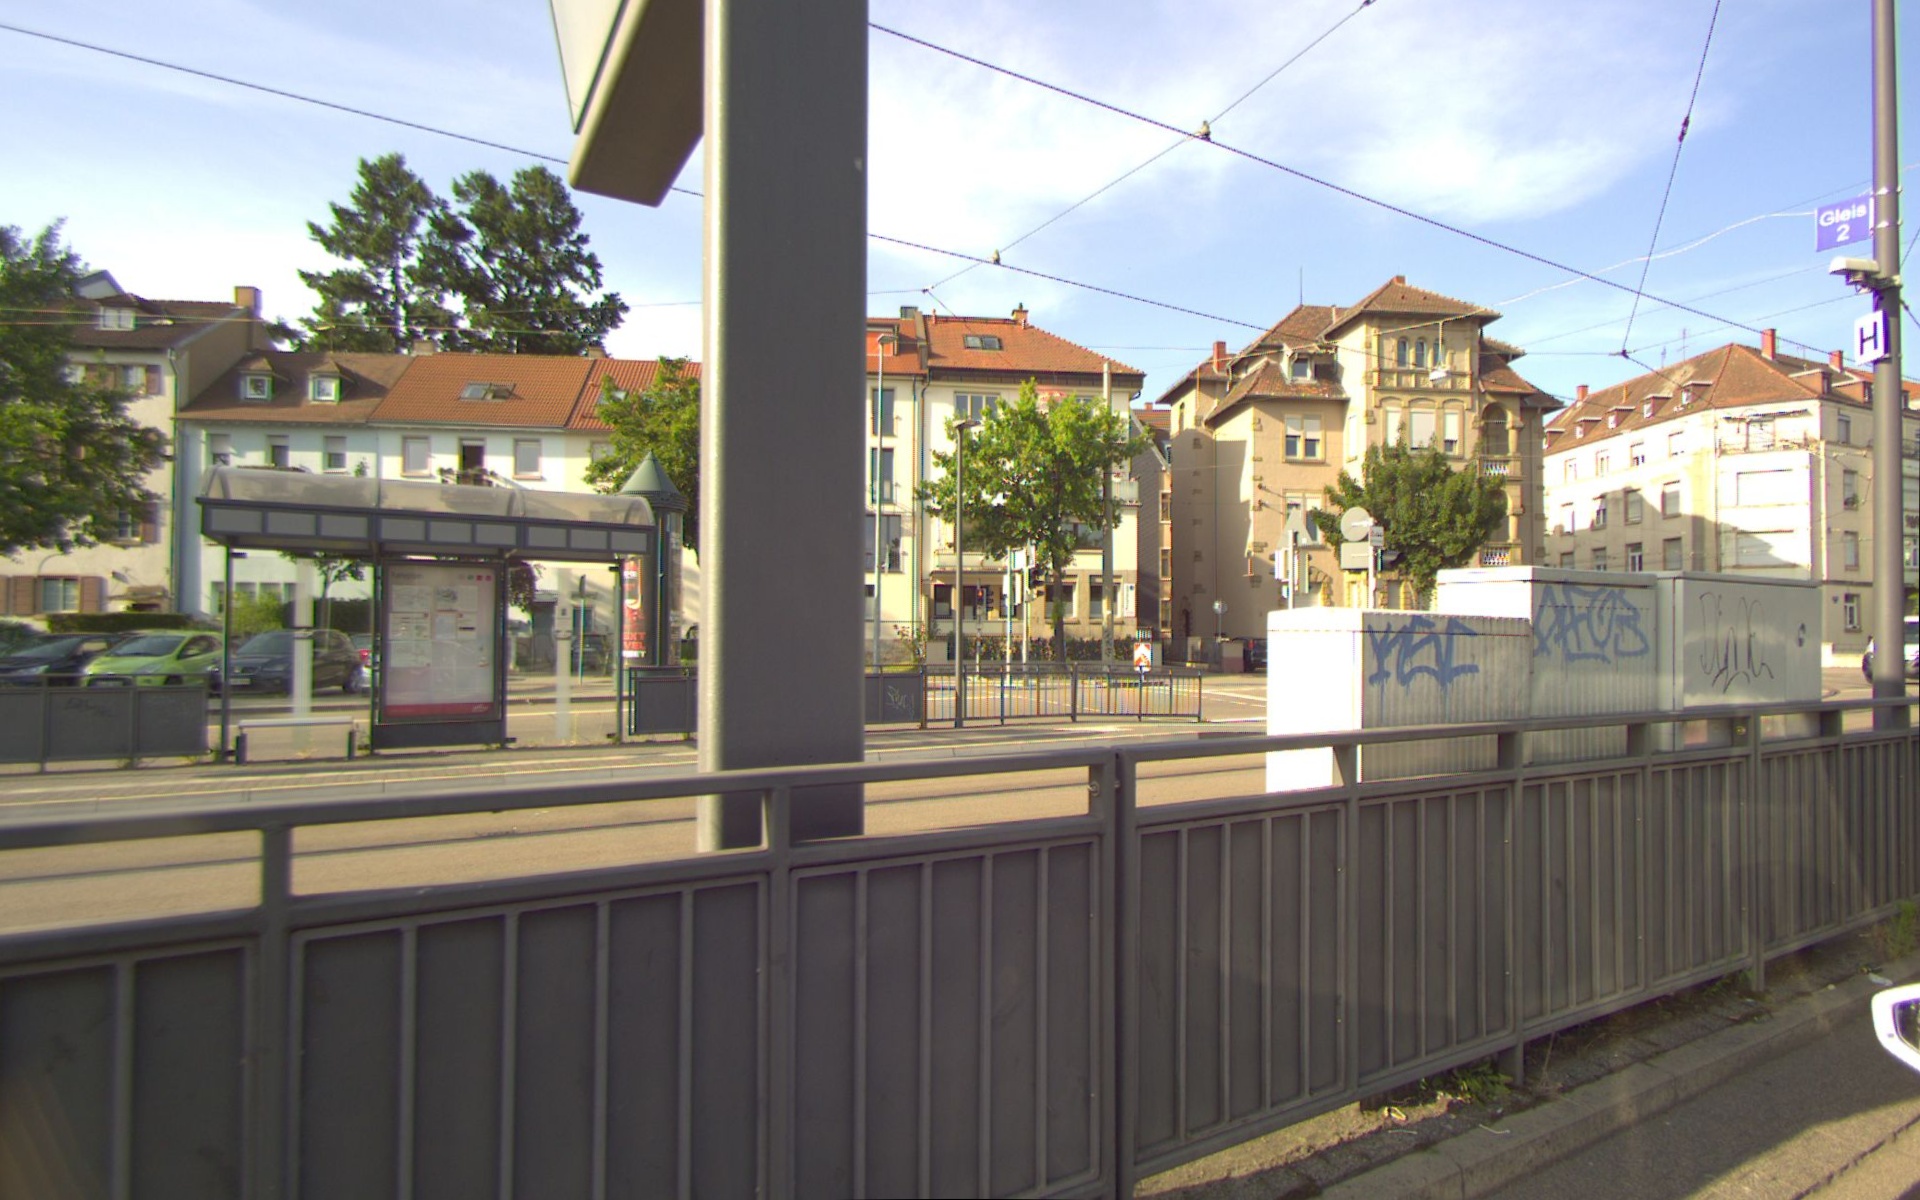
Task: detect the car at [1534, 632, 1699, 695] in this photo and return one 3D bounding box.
[{"bbox_3d":[17.531,1.648,26.810,4.064,1.546,1.673,0,-2,-22],"label":"car"}]

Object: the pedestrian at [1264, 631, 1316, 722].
[{"bbox_3d":[5.974,1.363,18.195,0.708,1.610,0.586,2,-2,-34],"label":"pedestrian"}]

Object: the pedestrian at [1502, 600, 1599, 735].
[{"bbox_3d":[7.737,0.867,13.184,0.663,1.692,0.877,1,-2,-27],"label":"pedestrian"}]

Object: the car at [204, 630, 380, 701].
[{"bbox_3d":[-14.890,1.413,22.663,1.740,1.447,3.995,1,-2,-9],"label":"car"}]

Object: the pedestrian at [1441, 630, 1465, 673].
[{"bbox_3d":[19.527,2.035,39.773,0.592,1.673,0.681,1,-2,-3],"label":"pedestrian"}]

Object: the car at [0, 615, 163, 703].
[{"bbox_3d":[-19.840,1.259,22.187,1.822,1.777,3.993,1,-2,-11],"label":"car"}]

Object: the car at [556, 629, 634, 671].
[{"bbox_3d":[-14.268,1.943,39.457,1.821,1.578,3.998,0,-2,-4],"label":"car"}]

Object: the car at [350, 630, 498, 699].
[{"bbox_3d":[-12.162,1.430,23.099,1.740,1.447,3.995,1,-2,-9],"label":"car"}]

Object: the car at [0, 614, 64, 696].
[{"bbox_3d":[-21.773,1.180,21.654,1.822,1.777,3.993,1,-2,-11],"label":"car"}]

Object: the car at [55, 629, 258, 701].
[{"bbox_3d":[-17.684,1.397,22.373,1.740,1.447,3.995,1,-2,-9],"label":"car"}]

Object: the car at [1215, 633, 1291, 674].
[{"bbox_3d":[12.284,2.211,42.417,1.742,1.653,3.998,0,-2,-5],"label":"car"}]

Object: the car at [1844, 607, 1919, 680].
[{"bbox_3d":[31.961,1.413,33.010,5.173,2.268,2.174,1,-2,-20],"label":"car"}]
